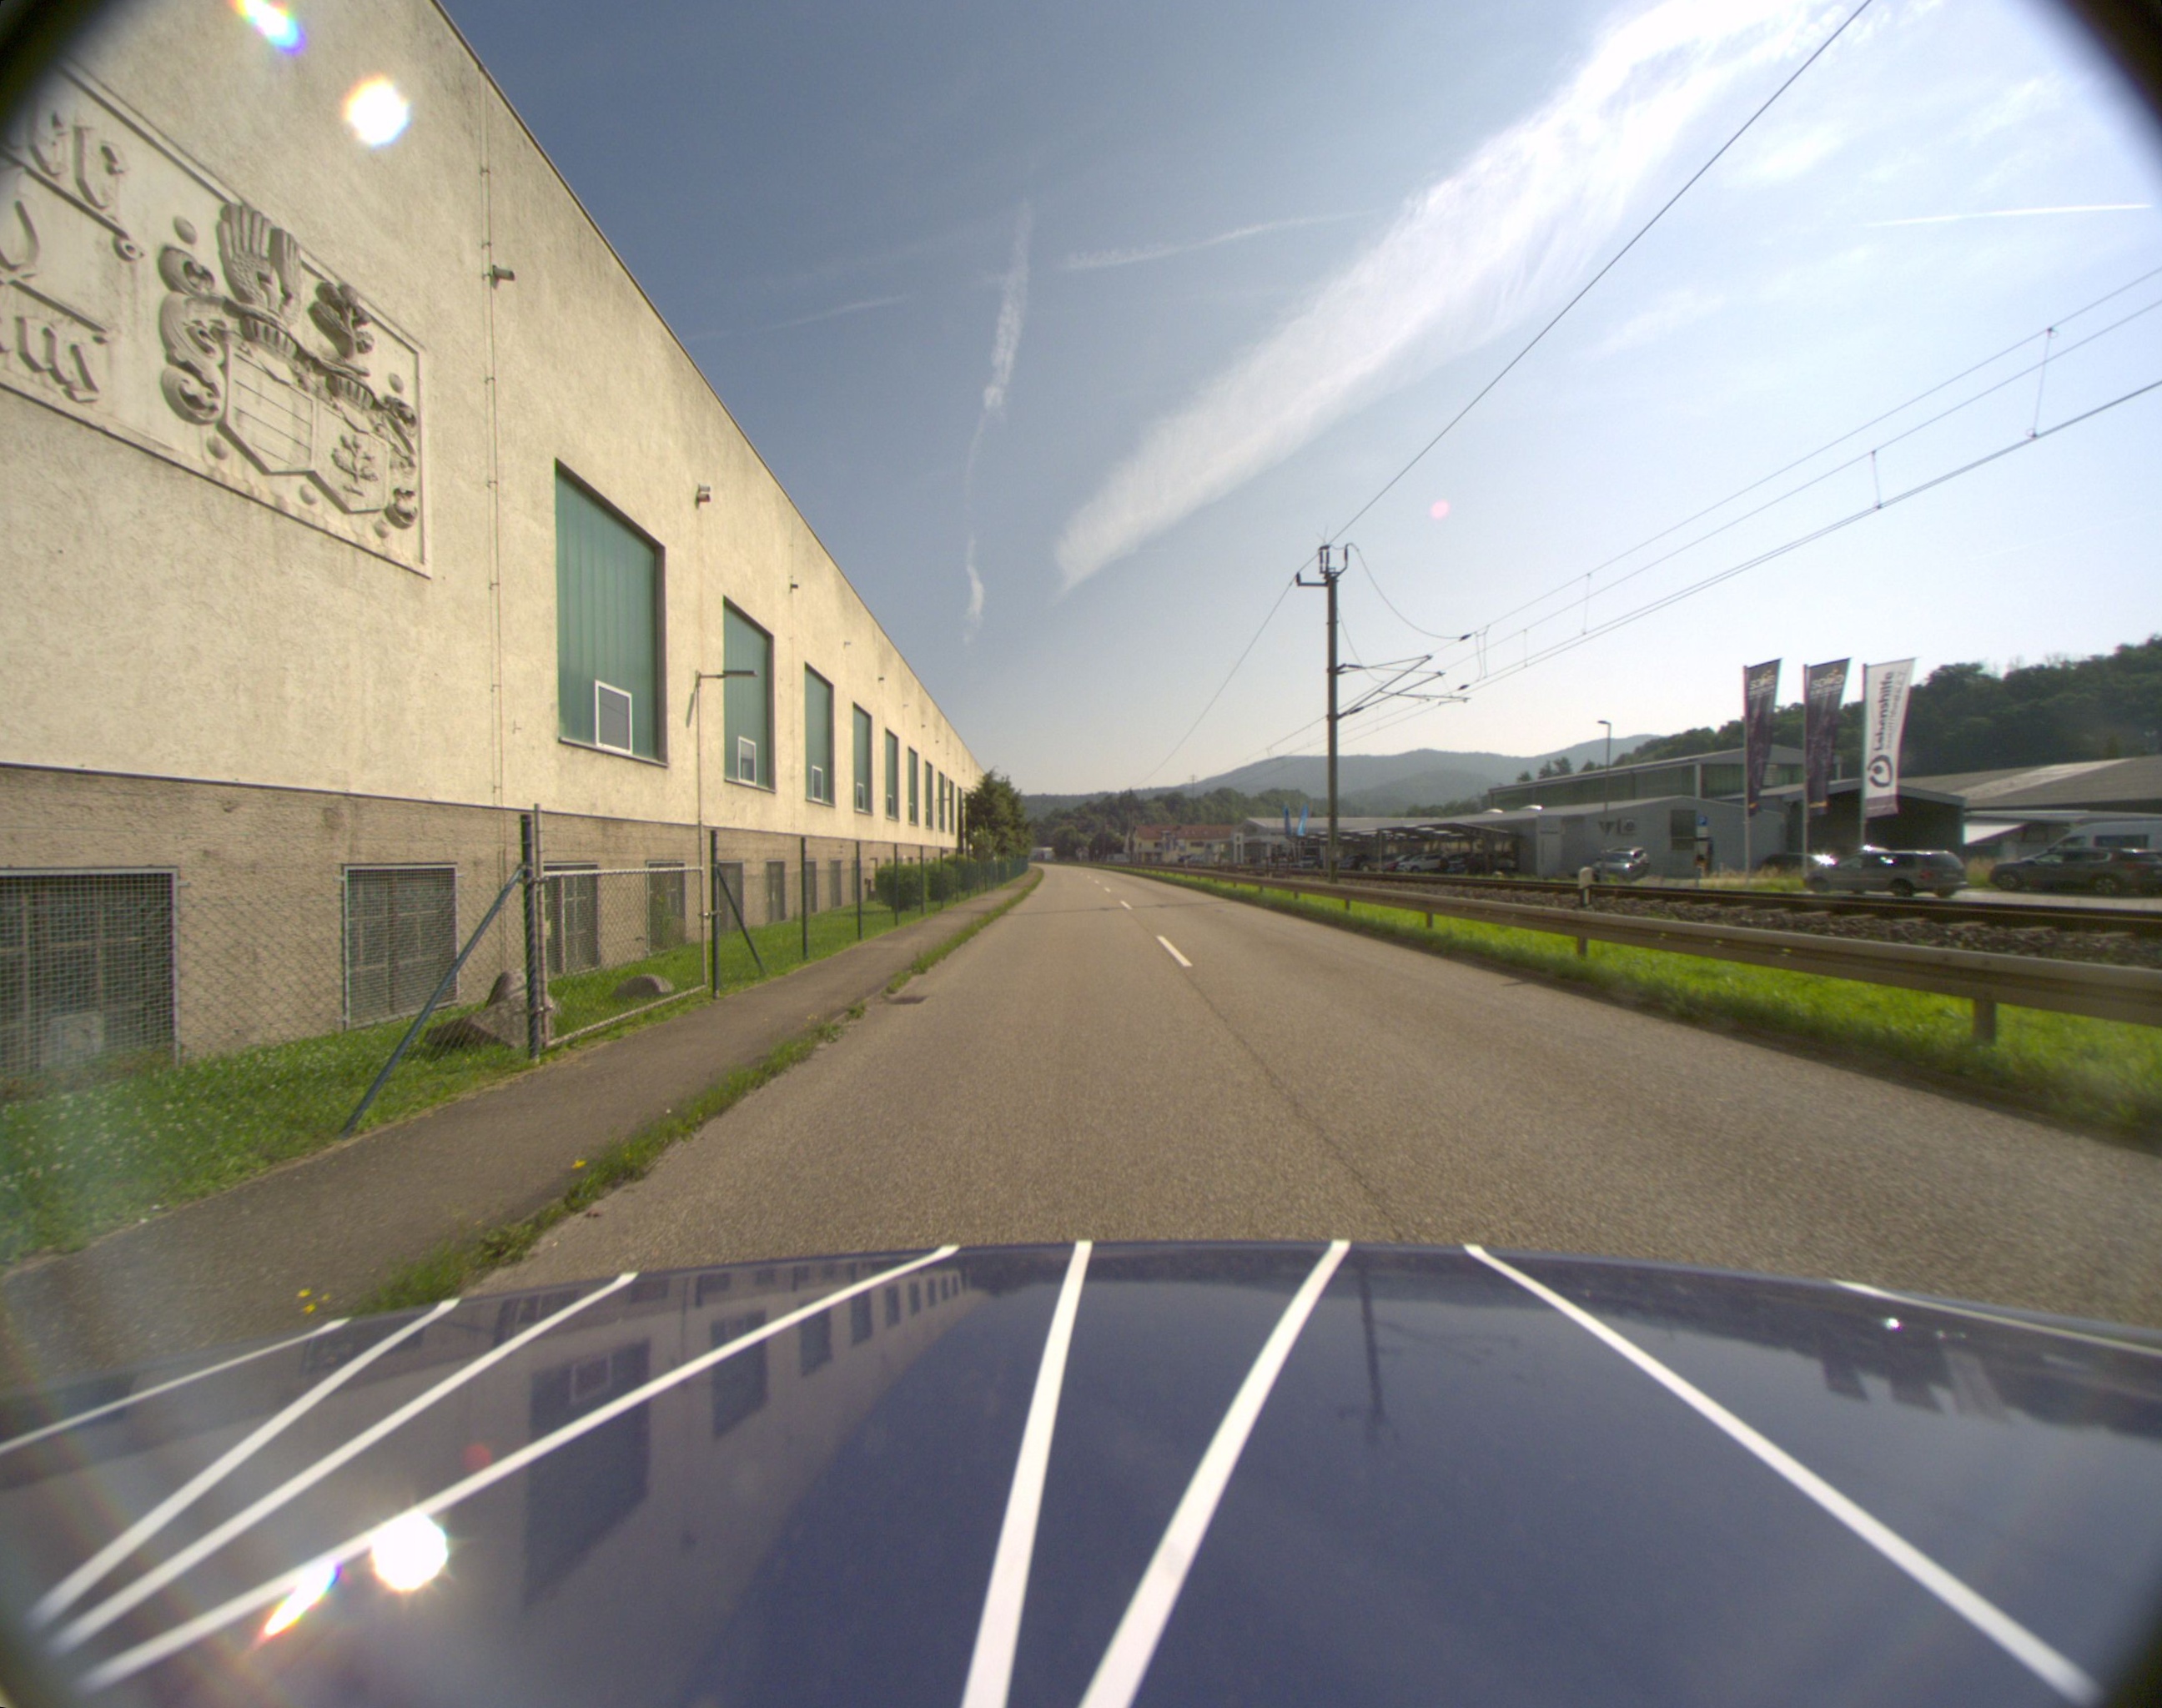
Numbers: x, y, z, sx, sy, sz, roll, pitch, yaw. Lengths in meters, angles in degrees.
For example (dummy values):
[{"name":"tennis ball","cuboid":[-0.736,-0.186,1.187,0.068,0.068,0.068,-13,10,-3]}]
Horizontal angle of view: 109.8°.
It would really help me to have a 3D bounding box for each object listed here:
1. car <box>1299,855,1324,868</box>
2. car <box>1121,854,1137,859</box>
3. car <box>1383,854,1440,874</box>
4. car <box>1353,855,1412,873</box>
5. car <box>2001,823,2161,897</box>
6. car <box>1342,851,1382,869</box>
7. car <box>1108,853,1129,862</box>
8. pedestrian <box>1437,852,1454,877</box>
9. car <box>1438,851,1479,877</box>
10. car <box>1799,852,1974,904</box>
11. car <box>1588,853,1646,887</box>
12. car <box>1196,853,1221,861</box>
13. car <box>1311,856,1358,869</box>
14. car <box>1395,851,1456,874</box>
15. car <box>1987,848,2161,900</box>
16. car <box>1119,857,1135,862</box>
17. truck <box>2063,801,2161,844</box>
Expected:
[{"name":"car","cuboid":[25.439,0.856,83.693,1.842,1.377,4.531,0,0,27]},{"name":"car","cuboid":[12.468,0.714,198.739,3.859,1.292,1.647,-1,0,-10]},{"name":"car","cuboid":[26.818,0.803,61.781,3.967,1.317,1.501,-3,1,-4]},{"name":"car","cuboid":[26.427,0.833,66.737,1.851,1.496,4.422,-1,0,-40]},{"name":"car","cuboid":[39.315,0.171,28.299,2.379,2.618,6.156,0,2,-4]},{"name":"car","cuboid":[27.001,0.567,73.022,4.279,1.519,1.842,-4,1,-43]},{"name":"car","cuboid":[10.757,1.035,217.627,5.589,2.402,2.235,-1,0,-8]},{"name":"pedestrian","cuboid":[24.758,0.702,51.617,0.806,1.724,0.833,-1,1,-45]},{"name":"car","cuboid":[27.044,0.721,54.333,1.659,1.613,4.039,-3,1,40]},{"name":"car","cuboid":[29.127,0.791,27.693,1.523,1.679,4.368,-2,1,-4]},{"name":"car","cuboid":[30.543,0.867,43.238,4.005,1.522,1.519,-6,4,-37]},{"name":"car","cuboid":[22.288,0.477,133.165,4.001,1.367,1.859,0,0,-10]},{"name":"car","cuboid":[25.985,0.865,78.025,1.851,1.334,4.196,-1,0,-44]},{"name":"car","cuboid":[26.794,0.655,59.213,3.967,1.519,1.662,-3,1,-4]},{"name":"car","cuboid":[36.259,0.659,27.561,1.873,1.654,3.997,0,2,-4]},{"name":"car","cuboid":[12.124,1.553,201.068,3.859,1.292,1.647,-1,0,-10]},{"name":"truck","cuboid":[61.553,-1.820,44.453,1.999,2.411,4.639,0,2,-5]}]
